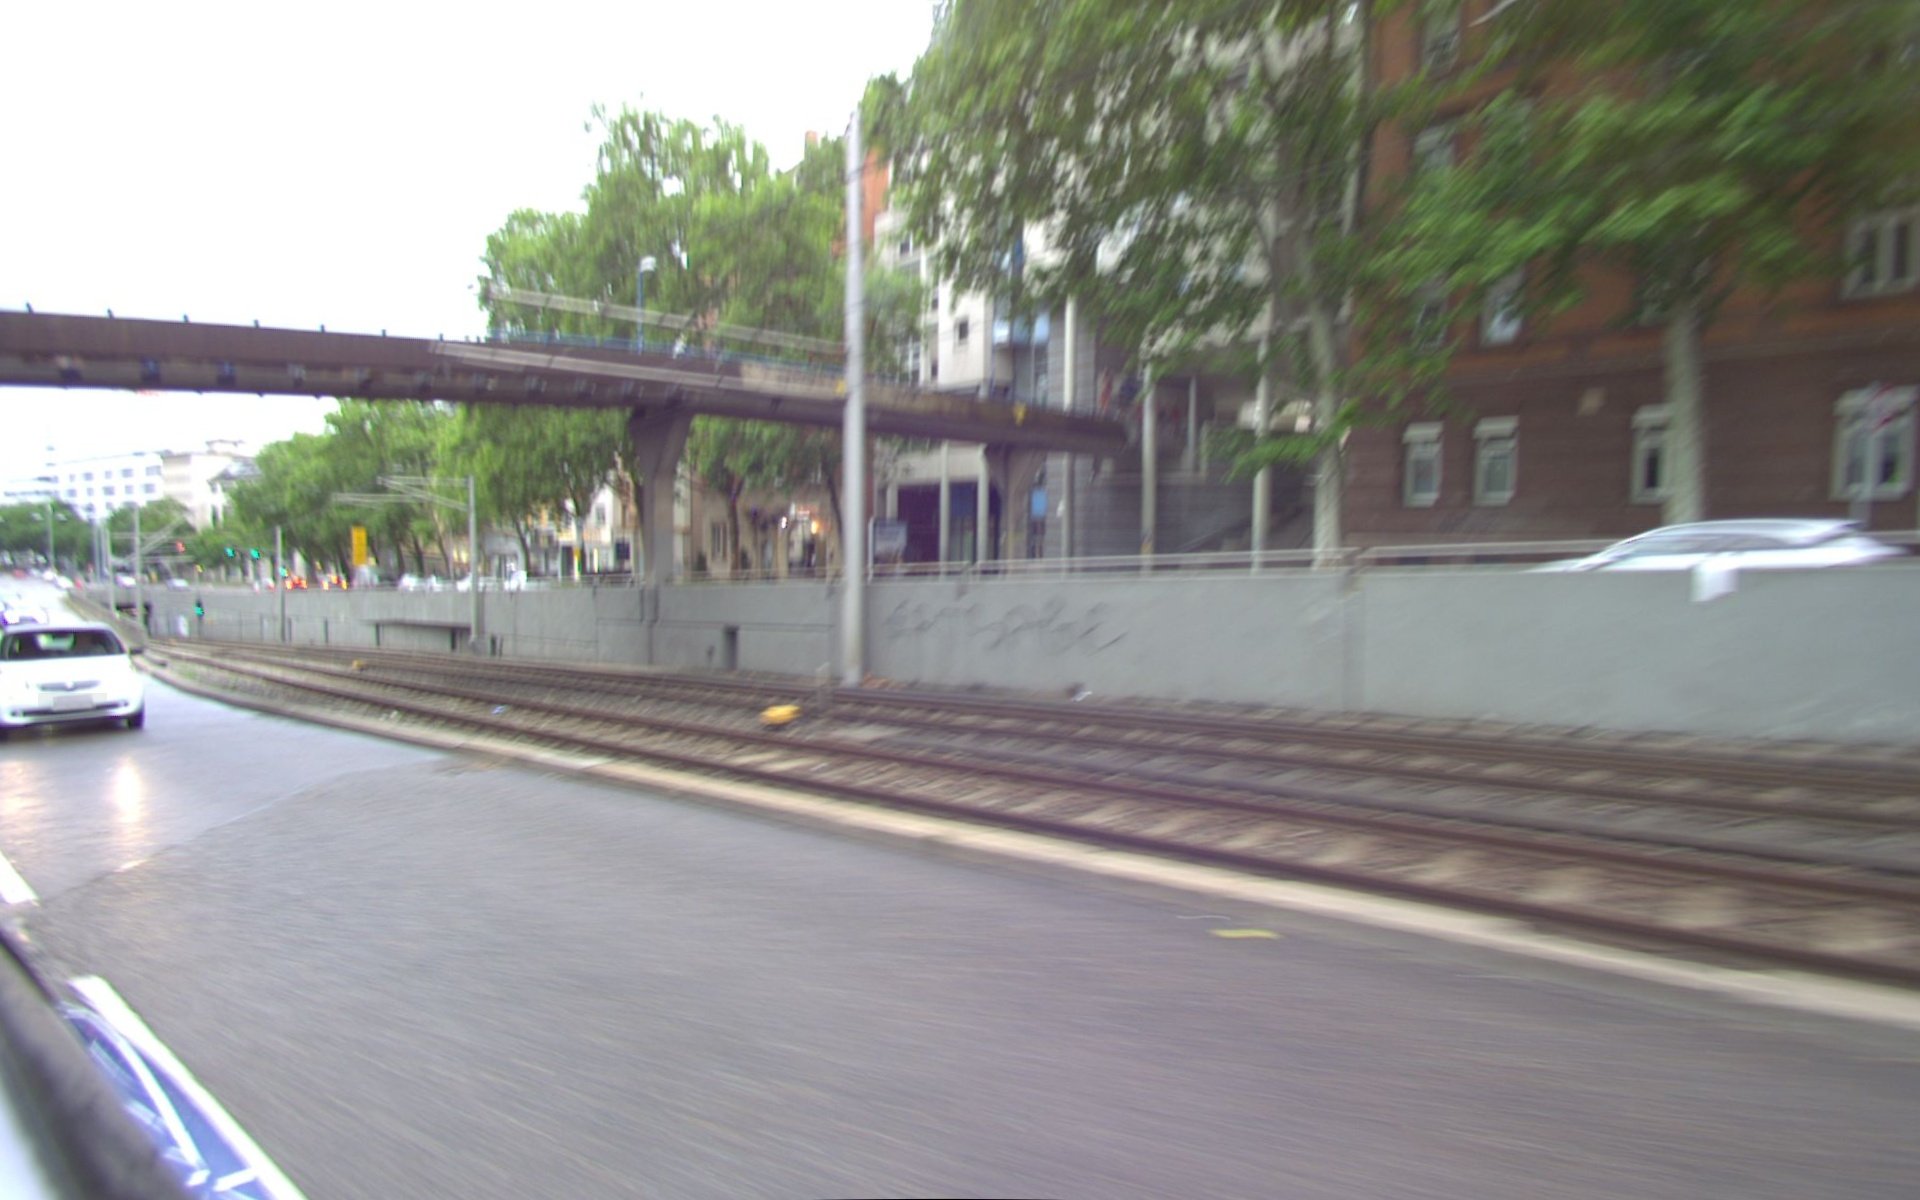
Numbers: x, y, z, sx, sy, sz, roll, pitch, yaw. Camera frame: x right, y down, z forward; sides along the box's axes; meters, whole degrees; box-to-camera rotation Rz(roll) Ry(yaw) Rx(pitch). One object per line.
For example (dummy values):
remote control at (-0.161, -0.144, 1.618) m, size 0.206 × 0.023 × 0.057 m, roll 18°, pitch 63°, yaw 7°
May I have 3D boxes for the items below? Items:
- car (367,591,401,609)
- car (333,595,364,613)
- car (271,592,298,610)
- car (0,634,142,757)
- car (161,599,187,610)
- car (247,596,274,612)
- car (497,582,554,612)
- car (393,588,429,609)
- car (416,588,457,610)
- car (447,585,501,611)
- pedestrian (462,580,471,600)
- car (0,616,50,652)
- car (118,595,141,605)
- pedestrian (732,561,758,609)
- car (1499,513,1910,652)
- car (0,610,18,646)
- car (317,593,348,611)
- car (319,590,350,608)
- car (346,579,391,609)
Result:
car at (-52.753, -0.014, 92.662) m, size 1.772 × 1.521 × 4.679 m, roll -5°, pitch 3°, yaw -40°
car at (-64.700, 0.422, 107.018) m, size 1.854 × 1.777 × 4.908 m, roll -5°, pitch 3°, yaw -41°
car at (-76.902, 0.135, 115.196) m, size 1.932 × 1.866 × 4.976 m, roll -5°, pitch 3°, yaw -40°
car at (-13.384, 1.350, 14.985) m, size 1.772 × 1.549 × 4.005 m, roll 0°, pitch -3°, yaw -42°
car at (-123.286, 0.683, 158.723) m, size 4.877 × 1.521 × 2.007 m, roll -1°, pitch 3°, yaw 39°
car at (-75.917, 0.444, 109.871) m, size 1.773 × 1.521 × 4.004 m, roll -5°, pitch 3°, yaw -43°
car at (-25.298, -0.167, 58.868) m, size 1.773 × 1.623 × 4.118 m, roll -5°, pitch 3°, yaw -41°
car at (-45.764, -0.110, 84.346) m, size 1.772 × 1.582 × 4.214 m, roll -5°, pitch 3°, yaw -40°
car at (-39.287, -0.053, 75.971) m, size 1.772 × 1.521 × 4.214 m, roll -5°, pitch 3°, yaw -40°
car at (-32.567, -0.140, 67.712) m, size 1.904 × 1.613 × 5.207 m, roll -5°, pitch 3°, yaw -41°
pedestrian at (-43.861, -0.893, 89.946) m, size 0.516 × 1.760 × 0.623 m, roll -6°, pitch 4°, yaw -33°
car at (-47.127, 1.676, 51.001) m, size 1.773 × 1.521 × 4.004 m, roll -5°, pitch 4°, yaw -43°
car at (-142.138, 0.058, 173.140) m, size 4.811 × 1.521 × 1.830 m, roll -1°, pitch 3°, yaw 36°
pedestrian at (-9.289, -0.651, 43.699) m, size 0.660 × 2.028 × 0.936 m, roll -5°, pitch 4°, yaw -39°
car at (10.099, -0.237, 13.959) m, size 4.360 × 1.623 × 1.775 m, roll -1°, pitch 3°, yaw 44°
car at (-59.567, 1.729, 62.605) m, size 1.773 × 2.047 × 4.004 m, roll -5°, pitch 4°, yaw -43°
car at (-58.401, 0.198, 94.099) m, size 1.772 × 1.521 × 4.114 m, roll -5°, pitch 3°, yaw -40°
car at (-70.785, -0.101, 114.572) m, size 1.856 × 1.777 × 4.904 m, roll -5°, pitch 3°, yaw -44°
car at (-56.959, -0.541, 97.398) m, size 2.423 × 2.682 × 6.942 m, roll -5°, pitch 3°, yaw -40°
